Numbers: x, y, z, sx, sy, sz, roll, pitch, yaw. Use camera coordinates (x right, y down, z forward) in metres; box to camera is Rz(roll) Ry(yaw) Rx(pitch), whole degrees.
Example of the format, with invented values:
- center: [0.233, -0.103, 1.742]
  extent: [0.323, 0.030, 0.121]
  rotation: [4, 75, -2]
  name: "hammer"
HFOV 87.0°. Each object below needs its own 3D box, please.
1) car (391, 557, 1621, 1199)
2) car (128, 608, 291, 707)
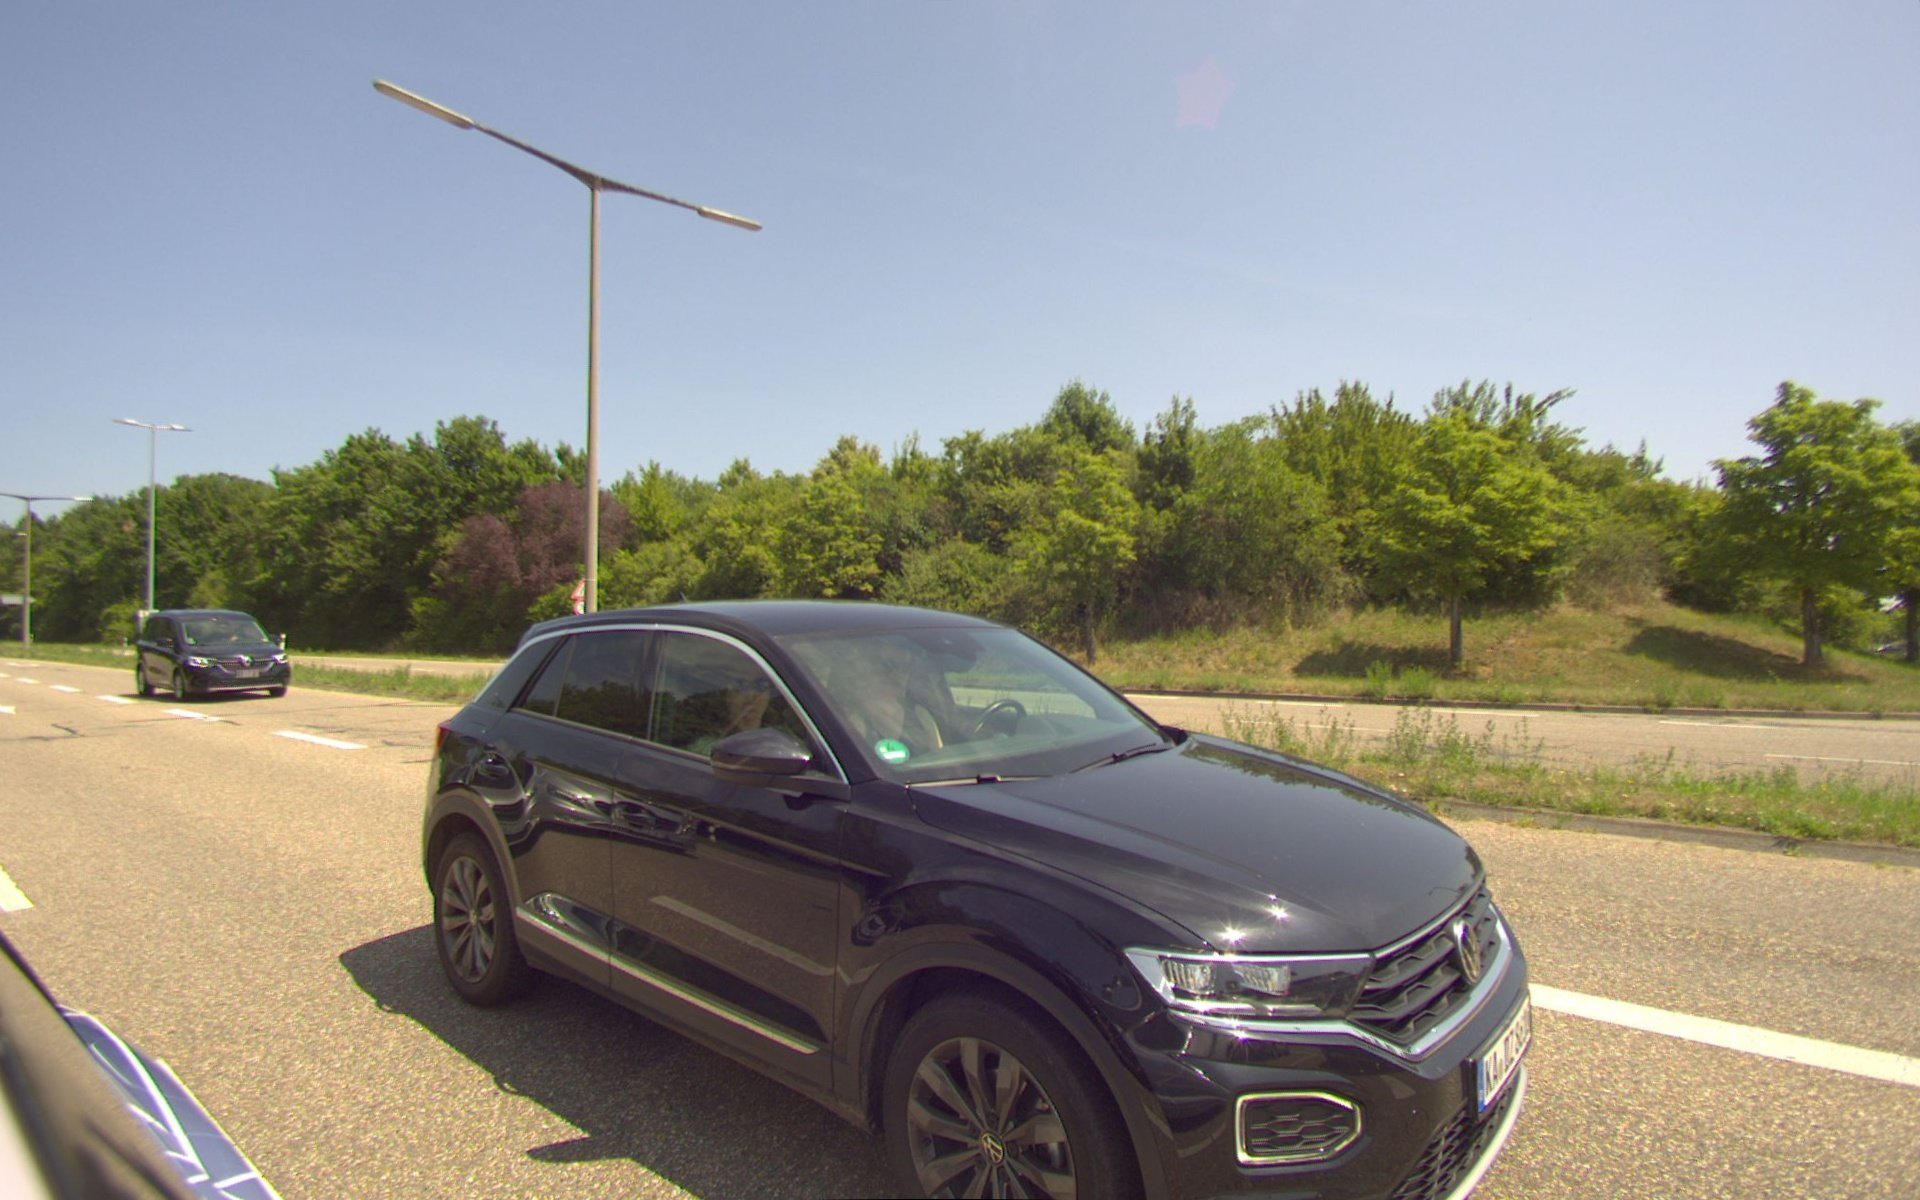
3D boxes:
- center: [-0.246, 0.713, 3.429]
  extent: [3.969, 1.523, 1.716]
  rotation: [-1, 0, 41]
  name: "car"
- center: [-15.586, 1.130, 20.941]
  extent: [4.317, 1.840, 1.714]
  rotation: [-2, -2, 39]
  name: "car"
